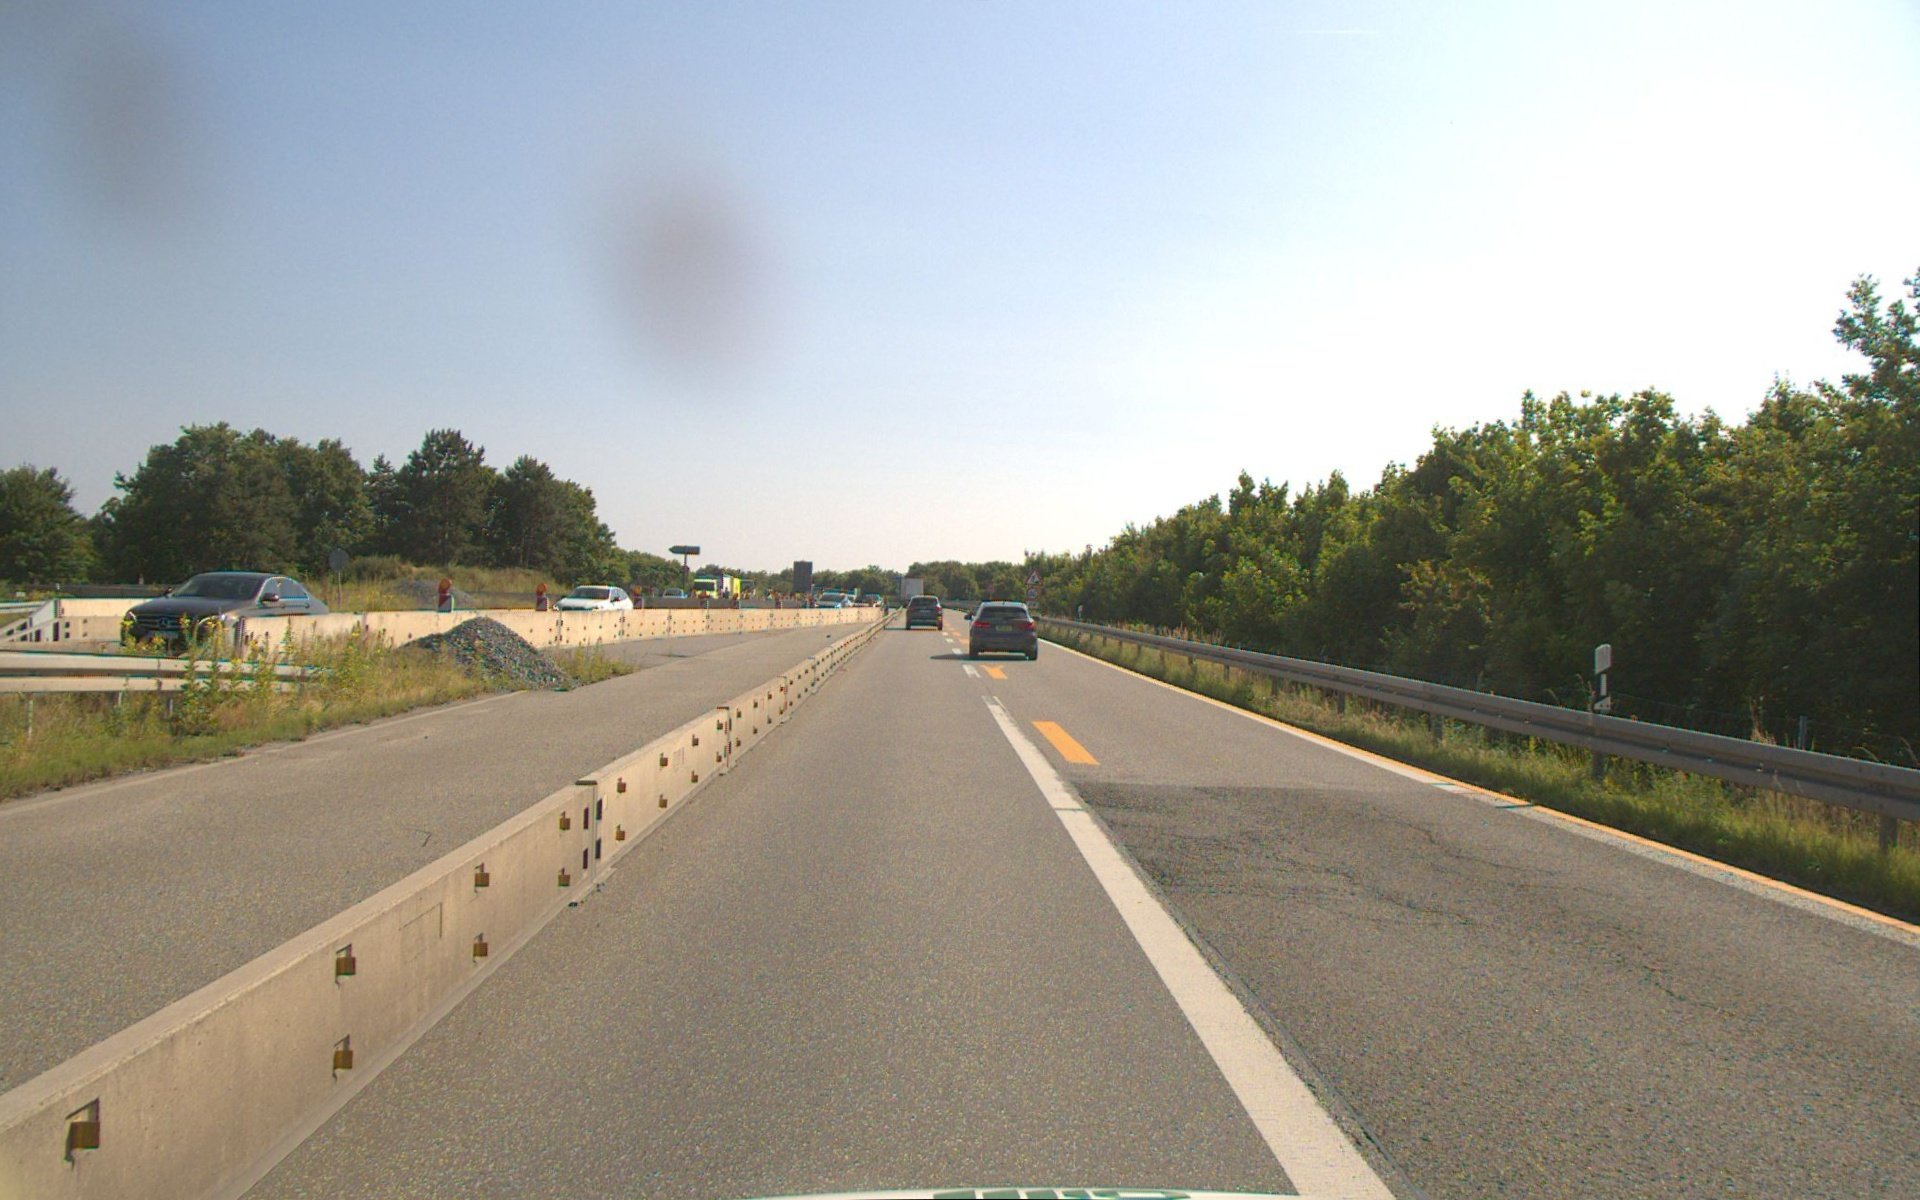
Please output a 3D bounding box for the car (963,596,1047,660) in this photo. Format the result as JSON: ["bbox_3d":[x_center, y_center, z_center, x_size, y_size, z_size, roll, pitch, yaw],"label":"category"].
[{"bbox_3d":[1.144,0.700,43.470,1.882,1.520,3.998,2,0,-3],"label":"car"}]

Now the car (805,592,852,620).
[{"bbox_3d":[-7.851,0.350,98.969,1.951,1.542,4.583,1,0,6],"label":"car"}]

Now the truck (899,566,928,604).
[{"bbox_3d":[-6.487,-2.018,228.532,3.686,4.997,14.129,2,0,-3],"label":"truck"}]

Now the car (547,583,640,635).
[{"bbox_3d":[-12.167,0.282,55.167,1.779,1.636,4.441,1,0,4],"label":"car"}]

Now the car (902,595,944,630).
[{"bbox_3d":[-1.738,0.553,78.869,1.953,1.594,3.999,1,0,-1],"label":"car"}]

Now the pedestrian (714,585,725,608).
[{"bbox_3d":[-18.939,-0.277,130.248,0.728,1.852,0.795,2,0,-13],"label":"pedestrian"}]

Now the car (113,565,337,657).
[{"bbox_3d":[-12.703,0.166,28.961,1.802,1.466,4.812,0,0,-1],"label":"car"}]

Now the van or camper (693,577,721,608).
[{"bbox_3d":[-20.316,-0.612,133.042,1.956,2.419,6.192,2,0,-7],"label":"van or camper"}]
